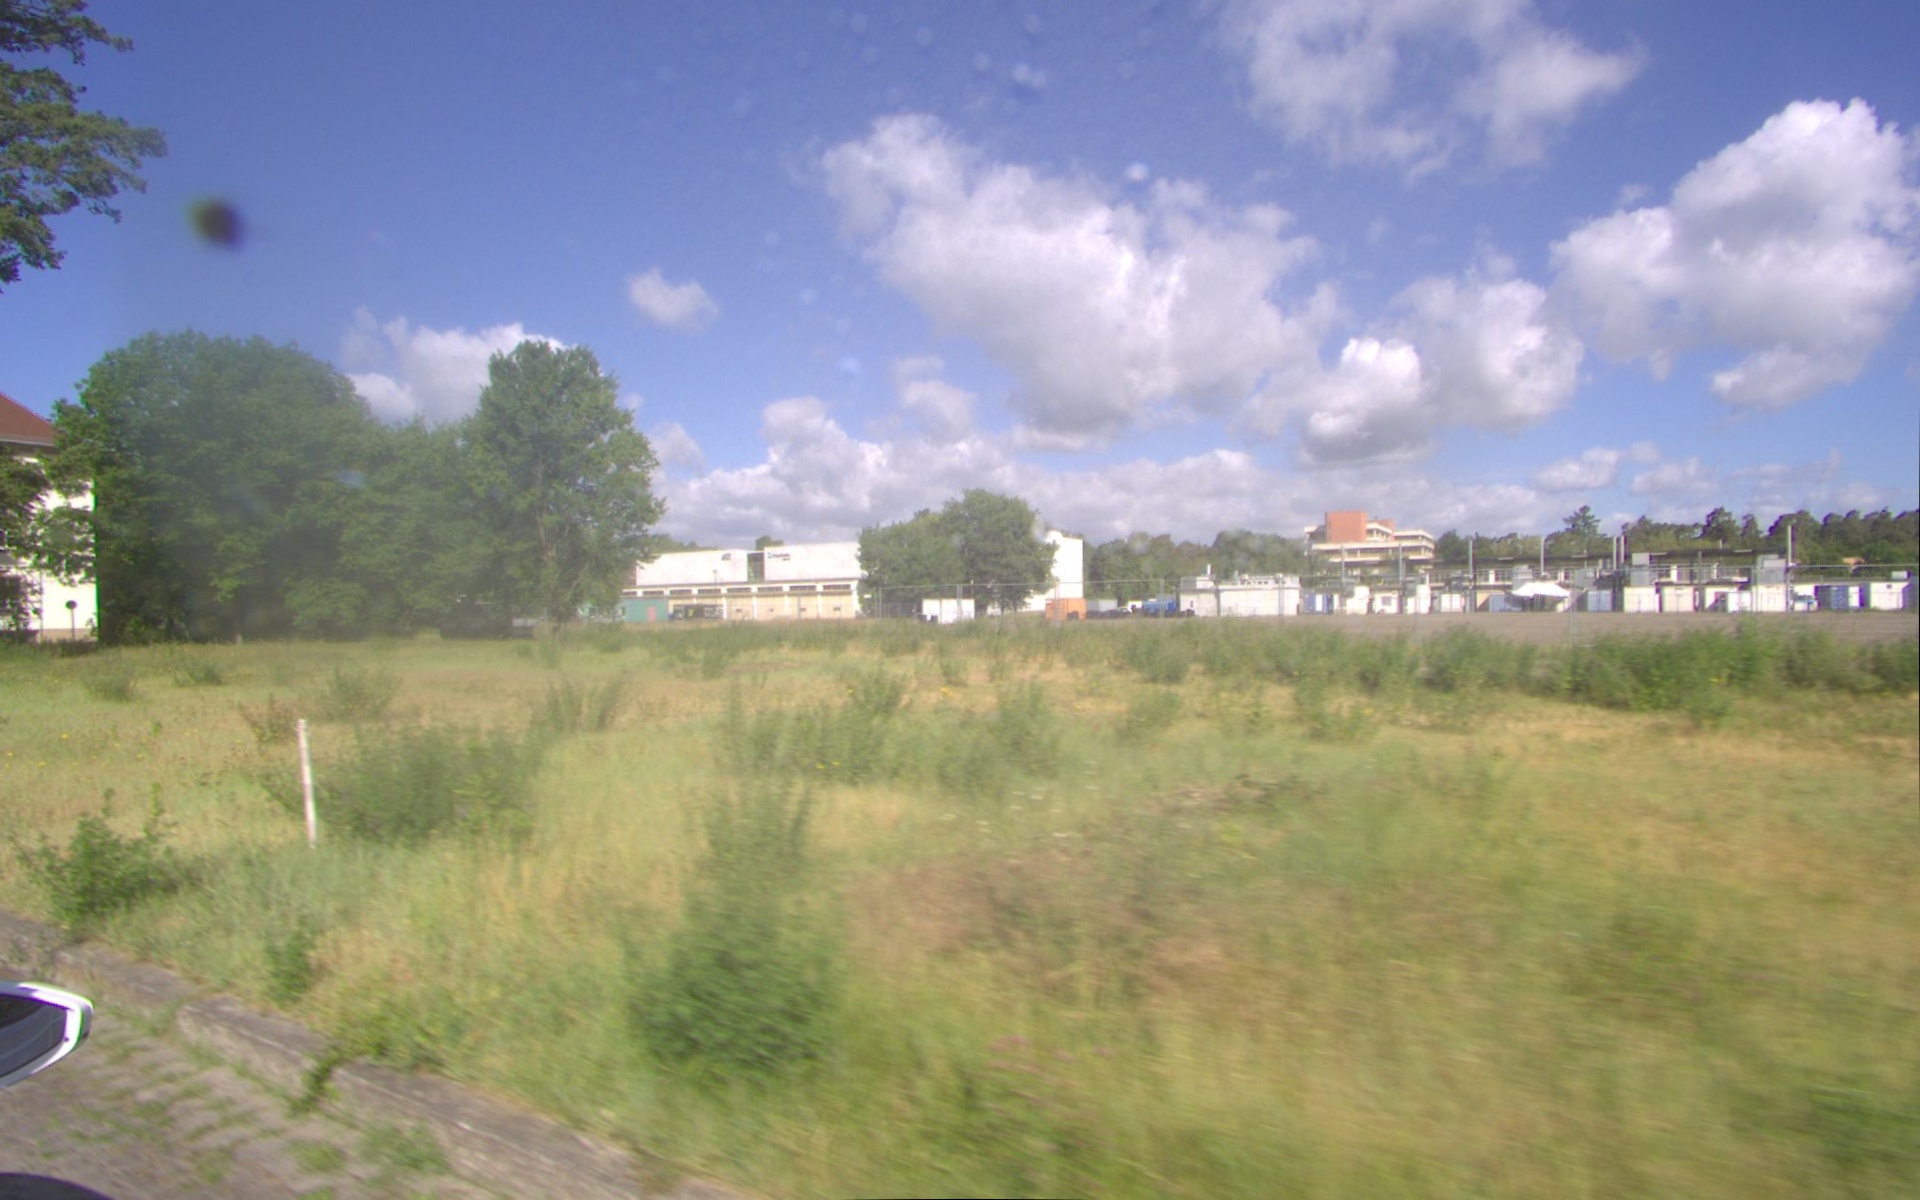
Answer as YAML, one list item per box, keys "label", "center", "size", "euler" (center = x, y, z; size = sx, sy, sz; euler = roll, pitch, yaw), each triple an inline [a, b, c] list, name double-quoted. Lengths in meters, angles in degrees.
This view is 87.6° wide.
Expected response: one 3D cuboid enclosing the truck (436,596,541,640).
- label: "truck"
  center: [-27.757, 1.085, 58.888]
  size: [6.785, 2.455, 2.230]
  euler: [-1, -2, 31]
